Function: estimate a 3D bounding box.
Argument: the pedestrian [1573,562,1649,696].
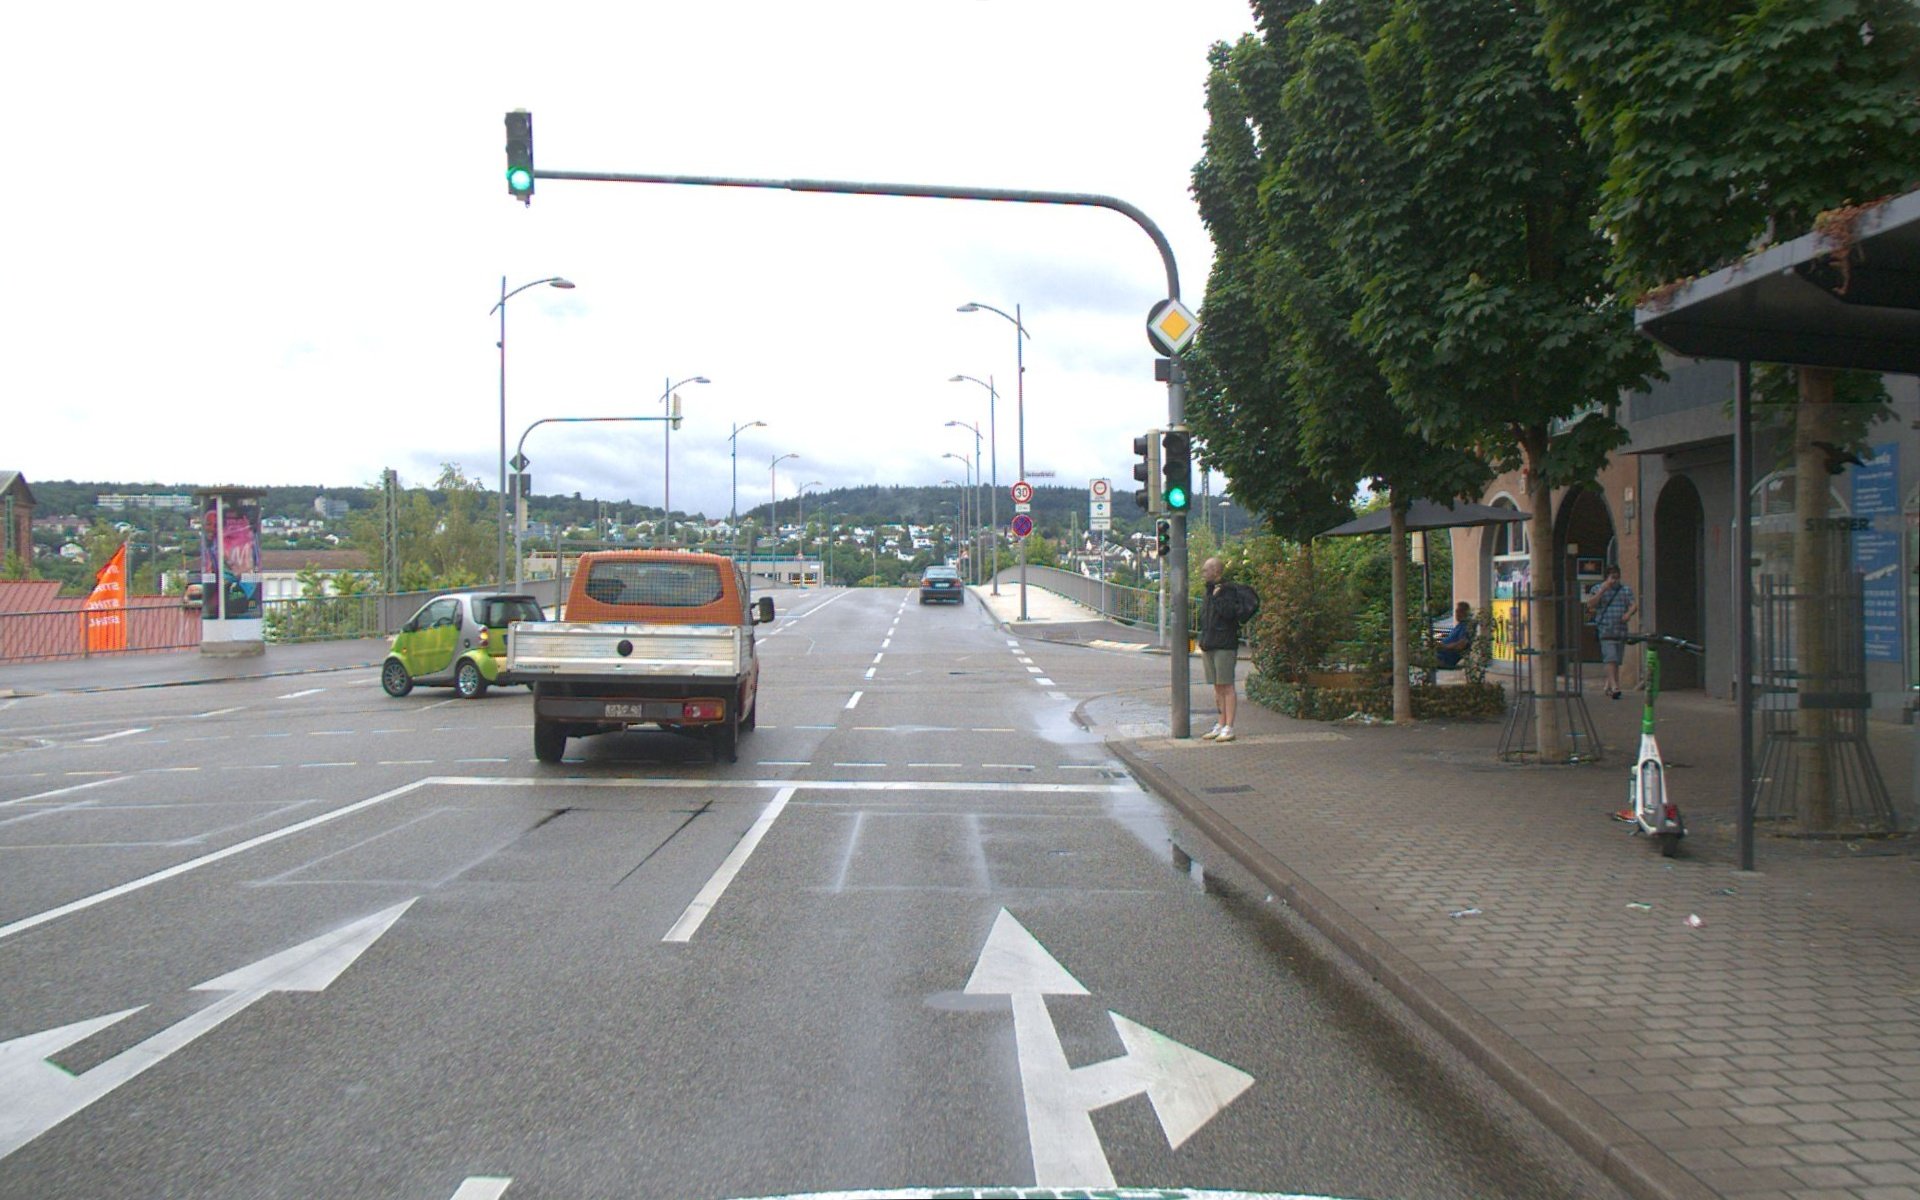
[{"bbox_3d":[7.937,0.351,20.201,0.630,1.599,0.725,-1,-1,2],"label":"pedestrian"}]

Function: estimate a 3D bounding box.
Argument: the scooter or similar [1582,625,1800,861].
[{"bbox_3d":[4.053,0.748,9.285,0.500,1.193,1.549,-1,0,-1],"label":"scooter or similar"}]

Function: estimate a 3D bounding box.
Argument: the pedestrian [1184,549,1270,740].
[{"bbox_3d":[2.682,0.437,16.657,0.718,1.873,0.630,-1,-1,-3],"label":"pedestrian"}]

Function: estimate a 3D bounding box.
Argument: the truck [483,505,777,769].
[{"bbox_3d":[-3.040,0.317,16.477,2.353,2.167,5.308,-1,0,-6],"label":"truck"}]

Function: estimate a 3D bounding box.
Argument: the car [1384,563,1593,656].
[{"bbox_3d":[12.803,0.237,40.037,4.681,2.049,1.985,2,0,-25],"label":"car"}]

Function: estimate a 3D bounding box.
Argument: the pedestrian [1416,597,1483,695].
[{"bbox_3d":[6.185,0.571,20.901,0.651,1.210,0.556,-1,-1,-3],"label":"pedestrian"}]

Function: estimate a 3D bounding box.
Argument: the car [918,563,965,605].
[{"bbox_3d":[-0.703,-0.580,63.136,1.718,1.505,3.999,-1,0,-1],"label":"car"}]

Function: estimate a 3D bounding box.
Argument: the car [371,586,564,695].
[{"bbox_3d":[-7.543,0.606,25.321,2.610,1.574,1.527,-1,-1,34],"label":"car"}]
